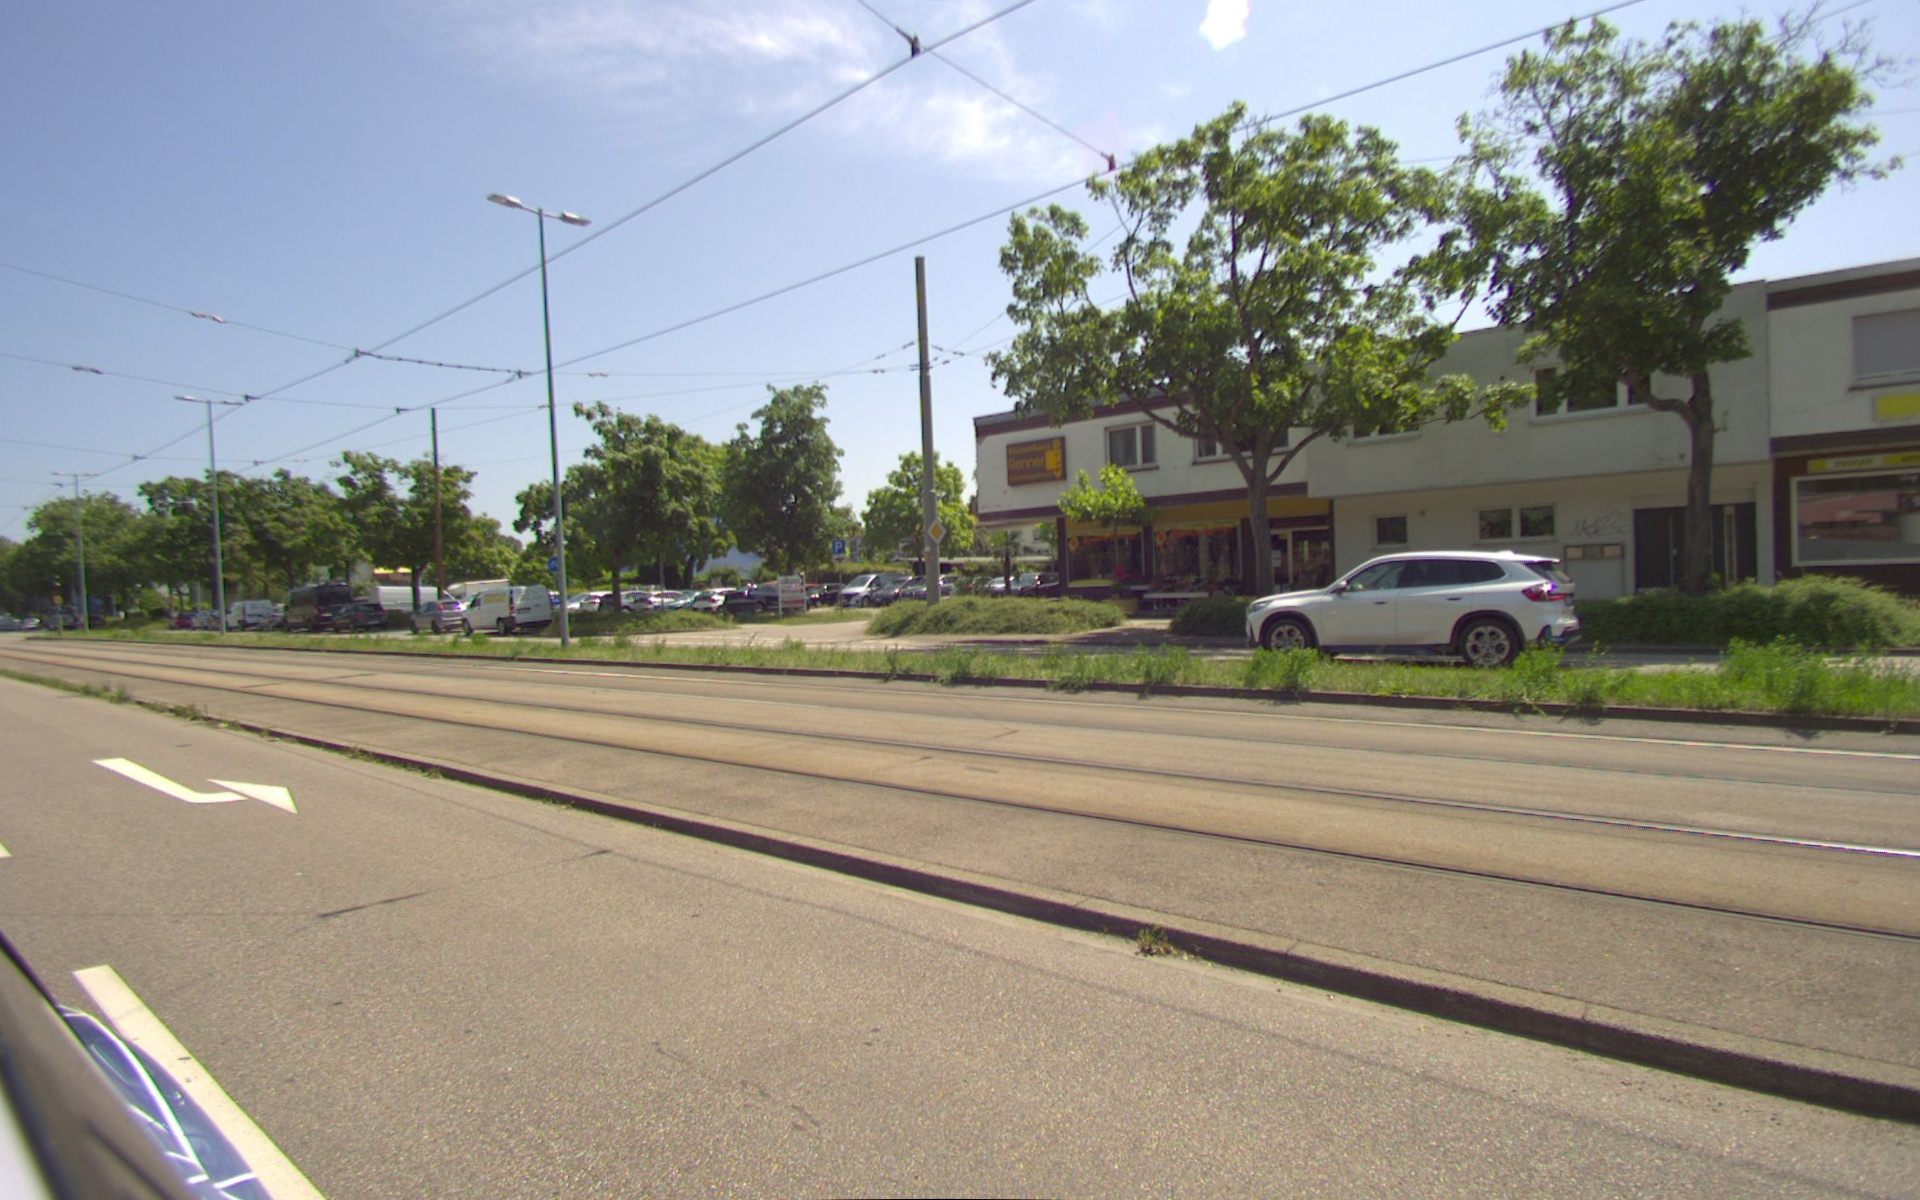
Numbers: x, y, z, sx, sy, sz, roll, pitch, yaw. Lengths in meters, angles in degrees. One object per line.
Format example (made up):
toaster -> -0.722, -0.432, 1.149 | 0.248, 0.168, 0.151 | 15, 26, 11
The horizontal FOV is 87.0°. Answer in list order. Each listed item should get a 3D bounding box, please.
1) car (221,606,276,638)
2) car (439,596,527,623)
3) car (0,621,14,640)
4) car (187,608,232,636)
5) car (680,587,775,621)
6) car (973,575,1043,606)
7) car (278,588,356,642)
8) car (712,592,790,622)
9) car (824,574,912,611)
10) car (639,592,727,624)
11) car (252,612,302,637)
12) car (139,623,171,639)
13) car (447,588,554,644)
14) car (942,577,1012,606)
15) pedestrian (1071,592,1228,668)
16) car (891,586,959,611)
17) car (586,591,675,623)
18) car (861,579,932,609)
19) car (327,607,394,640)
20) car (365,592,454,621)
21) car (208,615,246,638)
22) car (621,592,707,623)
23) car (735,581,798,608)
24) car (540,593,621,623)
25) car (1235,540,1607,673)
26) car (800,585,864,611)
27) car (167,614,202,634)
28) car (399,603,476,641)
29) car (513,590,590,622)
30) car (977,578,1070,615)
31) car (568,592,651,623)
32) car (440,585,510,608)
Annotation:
car -> -46.109, 1.405, 65.535 | 4.816, 1.963, 1.899 | -1, 0, 42
car -> -31.407, 0.599, 66.807 | 1.997, 1.588, 4.867 | -1, 1, 38
car -> -105.581, 3.325, 111.119 | 4.208, 2.005, 1.799 | -1, 0, 38
car -> -53.742, 1.533, 72.438 | 4.494, 1.907, 1.614 | -1, 0, 41
car -> -11.311, 0.187, 49.446 | 1.983, 1.501, 4.120 | -1, 1, 39
car -> 2.580, -0.526, 53.434 | 1.520, 1.591, 3.943 | -1, 1, 43
car -> -35.813, 0.784, 56.296 | 5.666, 2.859, 2.215 | -1, 0, 42
car -> -9.739, 0.300, 47.319 | 1.639, 1.241, 3.386 | -2, 1, 34
car -> -5.431, -0.445, 60.339 | 2.225, 2.085, 5.055 | -1, 0, 41
car -> -13.803, 0.373, 50.641 | 1.908, 1.501, 3.995 | -1, 0, 34
car -> -41.700, 1.477, 61.776 | 3.608, 1.475, 1.744 | -1, 0, 42
car -> -67.530, 2.585, 84.873 | 3.423, 1.167, 1.561 | -1, 1, 43
car -> -18.932, 0.633, 41.589 | 5.342, 2.025, 1.856 | -1, 4, 42
car -> 0.972, -0.452, 55.554 | 1.661, 1.531, 3.943 | -1, 1, 43
pedestrian -> 5.441, 0.814, 29.278 | 3.997, 2.029, 1.973 | -1, 0, 40
car -> -1.925, -0.089, 56.537 | 1.764, 1.294, 3.675 | -1, 1, 43
car -> -17.486, 0.365, 53.824 | 2.018, 1.501, 4.117 | -2, 1, 34
car -> -3.650, -0.336, 58.690 | 1.804, 1.669, 3.943 | -1, 1, 43
car -> -30.938, 1.204, 52.193 | 3.751, 1.589, 1.950 | -1, 0, 42
car -> -39.950, 0.438, 73.546 | 2.029, 1.970, 5.363 | -1, 1, 42
car -> -50.253, 1.825, 69.354 | 3.261, 1.489, 1.411 | -1, 0, 41
car -> -15.335, 0.353, 52.638 | 1.855, 1.501, 4.099 | -1, 0, 34
car -> -12.794, -0.357, 67.138 | 1.689, 1.665, 4.082 | -2, 0, 35
car -> -21.471, 0.420, 57.354 | 1.862, 1.499, 3.955 | -2, 1, 34
car -> 6.465, 0.080, 14.549 | 4.569, 1.622, 1.705 | -1, 0, 43
car -> -8.049, -0.124, 63.732 | 1.683, 1.597, 3.948 | -1, 0, 39
car -> -58.726, 1.797, 76.644 | 3.423, 1.491, 1.561 | -1, 0, 43
car -> -23.661, 0.993, 45.754 | 4.124, 1.513, 1.633 | -1, 4, 42
car -> -24.880, 0.352, 61.721 | 1.794, 1.730, 3.951 | -2, 1, 37
car -> 2.636, -0.172, 41.293 | 1.682, 1.306, 3.944 | -2, 1, 42
car -> -19.359, 0.387, 55.994 | 1.827, 1.501, 4.030 | -2, 1, 34
car -> -46.441, -0.328, 97.074 | 2.145, 2.078, 5.674 | -1, 0, 38
